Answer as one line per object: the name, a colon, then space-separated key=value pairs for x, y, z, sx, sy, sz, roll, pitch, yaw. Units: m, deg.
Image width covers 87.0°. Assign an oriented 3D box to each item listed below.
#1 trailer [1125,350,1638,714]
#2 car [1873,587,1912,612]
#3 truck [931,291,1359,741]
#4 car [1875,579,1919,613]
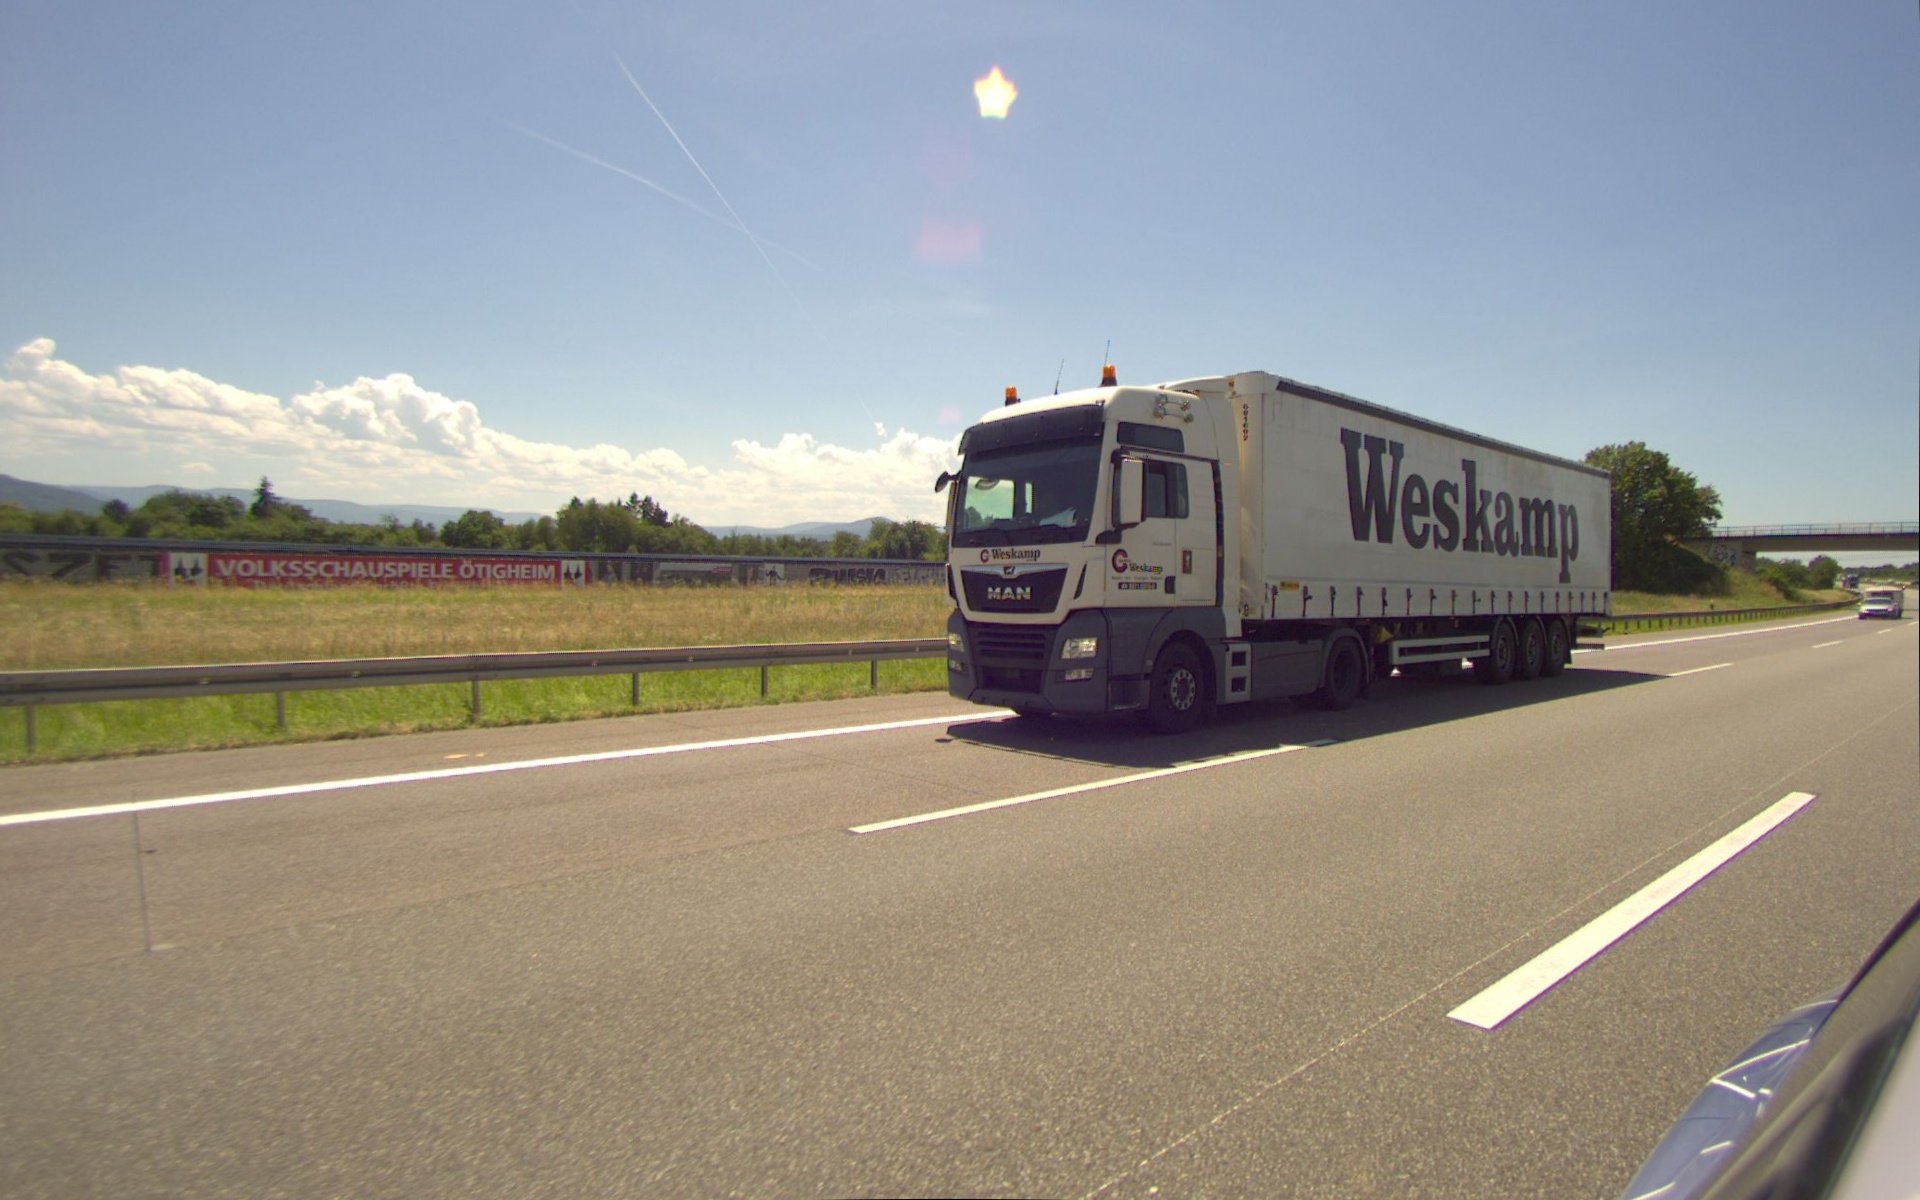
trailer: x=8.139 y=-0.883 z=17.415 sx=13.405 sy=4.305 sz=2.599 roll=-1 pitch=0 yaw=-42
car: x=60.545 y=-0.050 z=65.660 sx=1.780 sy=1.494 sz=3.937 roll=2 pitch=2 yaw=44
truck: x=2.390 y=-0.827 z=12.325 sx=5.000 sy=4.310 sz=2.605 roll=0 pitch=0 yaw=-41
car: x=65.126 y=-0.318 z=70.323 sx=2.183 sy=2.294 sz=4.874 roll=2 pitch=2 yaw=44
